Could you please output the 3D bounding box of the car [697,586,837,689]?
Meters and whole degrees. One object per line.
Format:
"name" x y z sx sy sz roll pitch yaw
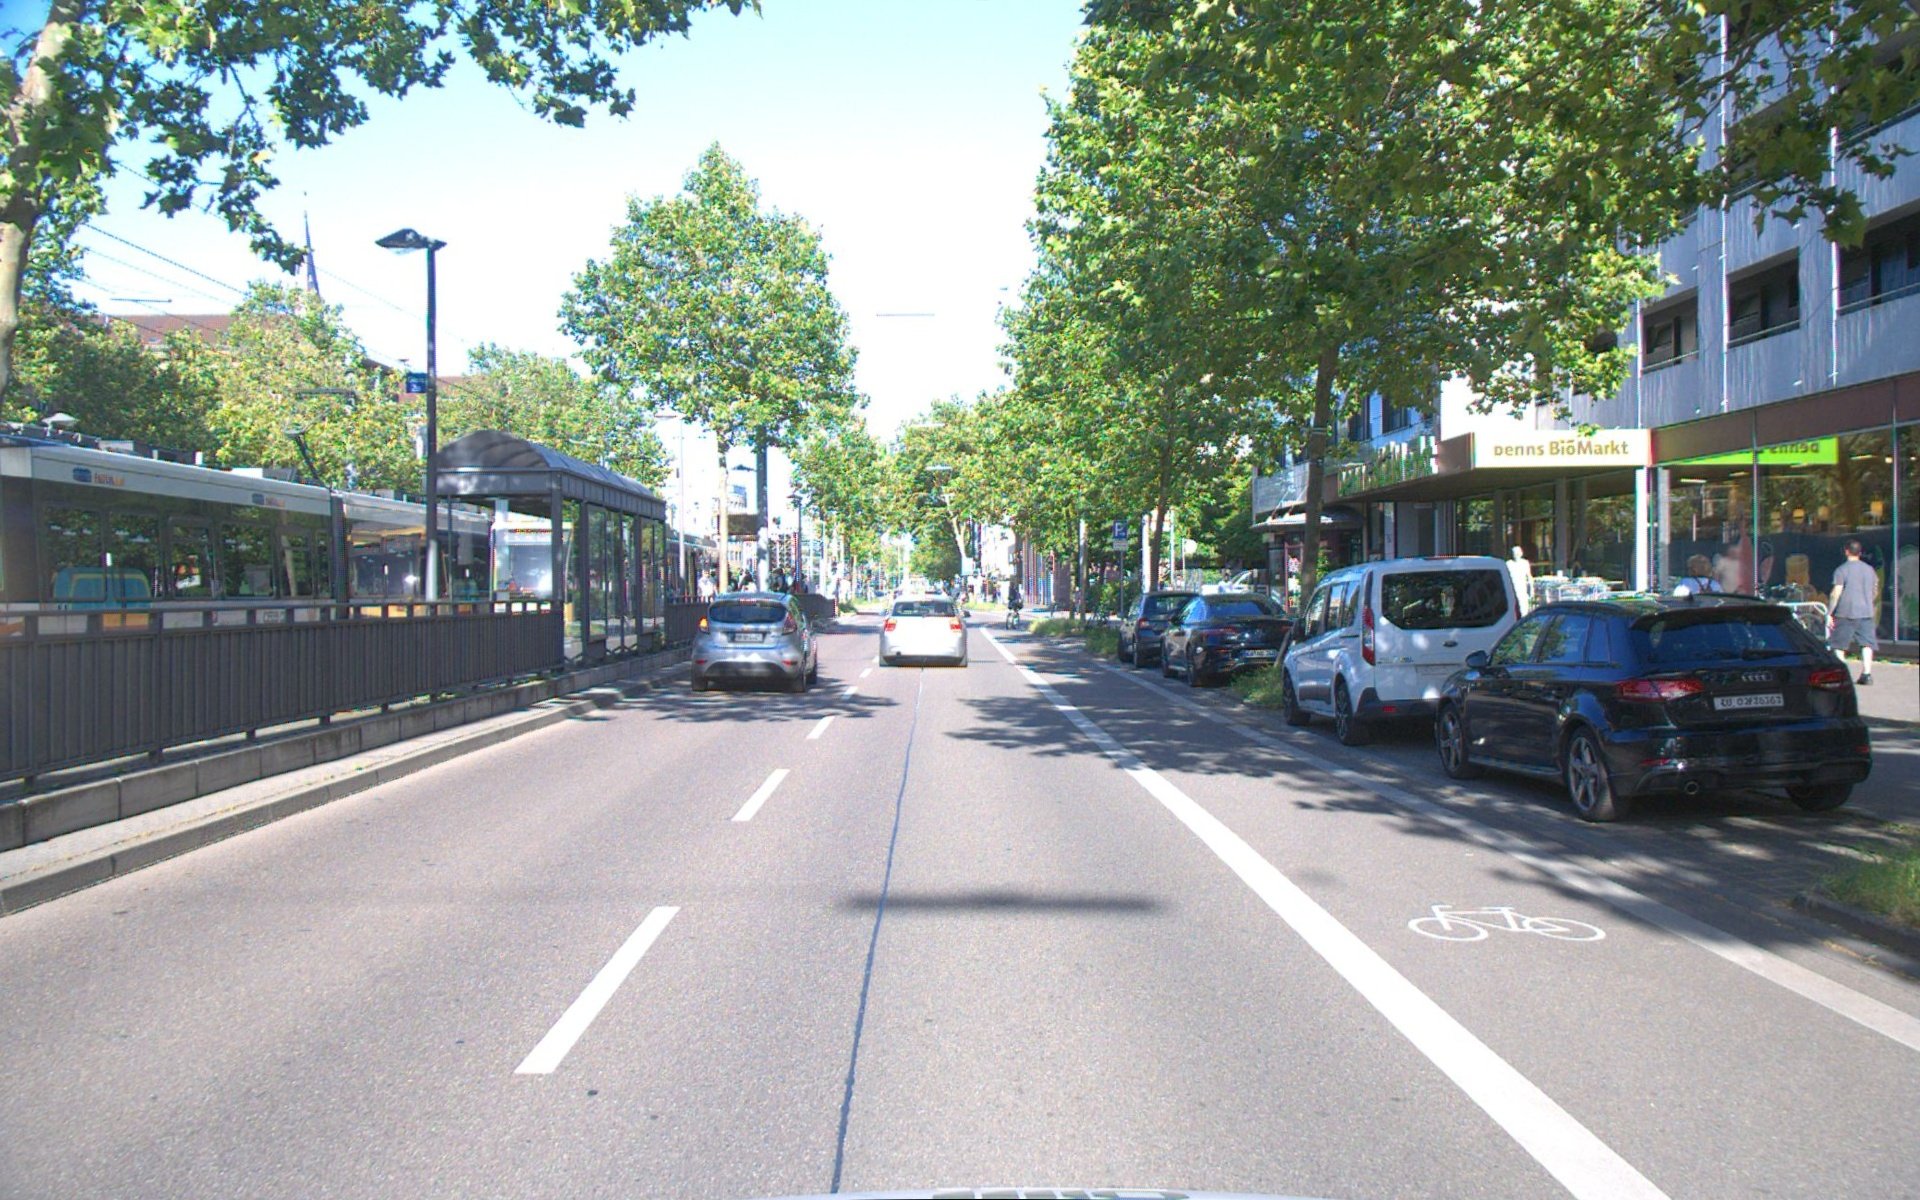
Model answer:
"car" -2.916 0.521 25.670 1.694 1.414 3.840 1 1 0

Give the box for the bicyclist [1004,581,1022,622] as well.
"bicyclist" 2.211 0.046 68.870 0.644 1.686 0.765 -1 0 8

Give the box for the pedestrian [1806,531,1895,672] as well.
"pedestrian" 11.183 0.017 20.796 0.546 1.707 0.882 -3 0 -1

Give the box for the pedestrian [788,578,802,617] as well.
"pedestrian" -5.816 -0.086 58.318 0.407 1.339 0.507 -1 0 -3

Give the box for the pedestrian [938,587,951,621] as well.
"pedestrian" -0.767 0.188 81.578 0.626 1.648 0.641 -1 -2 -1

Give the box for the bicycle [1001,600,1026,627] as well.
"bicycle" 2.250 0.560 69.132 0.814 1.059 1.876 -1 0 8

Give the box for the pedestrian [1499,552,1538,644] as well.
"pedestrian" 10.973 -0.035 32.507 0.598 1.745 0.614 -3 2 16

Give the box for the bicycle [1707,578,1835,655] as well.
"bicycle" 12.262 0.252 25.036 1.666 1.074 0.585 -3 1 26

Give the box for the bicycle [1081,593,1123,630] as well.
"bicycle" 4.555 0.372 53.130 0.774 1.153 1.840 -1 0 -13

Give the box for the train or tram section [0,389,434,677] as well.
"train or tram section" -13.146 -0.902 27.955 2.812 3.494 18.274 1 1 -1

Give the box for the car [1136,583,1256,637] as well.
"car" 10.121 0.416 71.197 4.798 2.019 1.913 -3 0 -1

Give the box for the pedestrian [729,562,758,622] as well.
"pedestrian" -6.495 -0.245 49.608 0.760 1.783 0.722 -1 0 -5

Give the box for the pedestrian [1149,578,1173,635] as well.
"pedestrian" 6.274 0.196 51.717 0.548 1.734 1.052 -1 0 -1

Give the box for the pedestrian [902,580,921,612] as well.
"pedestrian" -2.429 -0.194 82.846 0.812 1.603 0.739 0 0 7

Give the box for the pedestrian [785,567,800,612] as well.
"pedestrian" -6.698 -0.422 66.104 0.537 1.764 0.539 -1 0 -5

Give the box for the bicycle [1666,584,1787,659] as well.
"bicycle" 12.075 0.342 26.068 1.666 1.073 0.585 -3 2 26

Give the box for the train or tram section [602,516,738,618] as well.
"train or tram section" -10.505 -1.033 61.469 2.855 3.317 13.109 1 -1 -1

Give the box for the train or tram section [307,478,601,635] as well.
"train or tram section" -13.328 -1.063 46.220 2.791 3.494 18.212 1 1 -1

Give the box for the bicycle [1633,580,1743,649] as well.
"bicycle" 12.388 0.248 28.146 1.666 1.073 0.585 -3 3 26

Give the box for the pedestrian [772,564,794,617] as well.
"pedestrian" -5.902 -0.321 55.162 0.647 1.726 0.571 -1 0 0

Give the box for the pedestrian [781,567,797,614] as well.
"pedestrian" -6.486 -0.374 62.860 0.537 1.764 0.539 -1 0 -2

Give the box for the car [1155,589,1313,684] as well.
"car" 4.429 0.534 27.399 1.726 1.442 4.699 0 0 -1

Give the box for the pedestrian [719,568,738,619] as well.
"pedestrian" -7.940 -0.218 56.699 0.597 1.732 0.545 -1 0 -5

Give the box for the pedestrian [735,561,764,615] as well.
"pedestrian" -6.135 -0.342 48.234 0.760 1.536 0.751 -1 0 -5

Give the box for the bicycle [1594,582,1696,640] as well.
"bicycle" 12.259 0.196 29.614 1.614 0.932 0.585 -3 3 26

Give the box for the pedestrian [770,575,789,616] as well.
"pedestrian" -5.669 -0.136 51.840 0.523 1.268 0.604 -1 0 -3

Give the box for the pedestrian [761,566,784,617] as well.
"pedestrian" -6.169 -0.272 54.378 0.647 1.662 0.571 -1 0 0

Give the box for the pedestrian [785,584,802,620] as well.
"pedestrian" -5.766 0.066 57.214 0.534 1.213 0.531 -1 0 -1

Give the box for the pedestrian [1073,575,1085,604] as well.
"pedestrian" 6.868 -0.606 95.655 0.613 1.657 0.944 0 0 7

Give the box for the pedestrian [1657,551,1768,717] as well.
"pedestrian" 7.745 0.340 17.059 0.683 1.640 0.868 -3 0 1

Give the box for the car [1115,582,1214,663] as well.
"car" 4.196 0.437 34.433 1.533 1.577 4.000 0 0 0

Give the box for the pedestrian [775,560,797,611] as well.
"pedestrian" -5.929 -0.504 56.439 0.647 1.726 0.571 -1 0 0

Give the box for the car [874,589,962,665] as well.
"car" -0.801 0.515 33.384 1.626 1.434 3.632 1 0 1

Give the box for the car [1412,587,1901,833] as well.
"car" 4.844 0.654 12.247 1.694 1.427 4.294 -2 0 -1

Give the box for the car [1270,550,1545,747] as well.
"car" 4.662 0.429 17.902 1.728 1.823 4.393 -2 1 0

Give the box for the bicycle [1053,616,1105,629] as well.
"bicycle" 3.863 0.719 53.834 1.576 0.359 1.389 -1 0 -1

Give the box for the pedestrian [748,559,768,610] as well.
"pedestrian" -6.983 -0.529 57.243 0.620 1.732 0.746 -1 0 -5

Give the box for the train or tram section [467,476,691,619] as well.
"train or tram section" -10.267 -1.168 46.933 2.855 3.317 15.889 1 -1 -1

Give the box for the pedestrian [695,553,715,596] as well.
"pedestrian" -8.095 -0.806 52.519 0.523 1.322 0.604 -1 0 -4

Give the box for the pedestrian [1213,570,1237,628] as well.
"pedestrian" 8.313 -0.031 51.962 0.548 1.775 0.878 -1 0 -1
